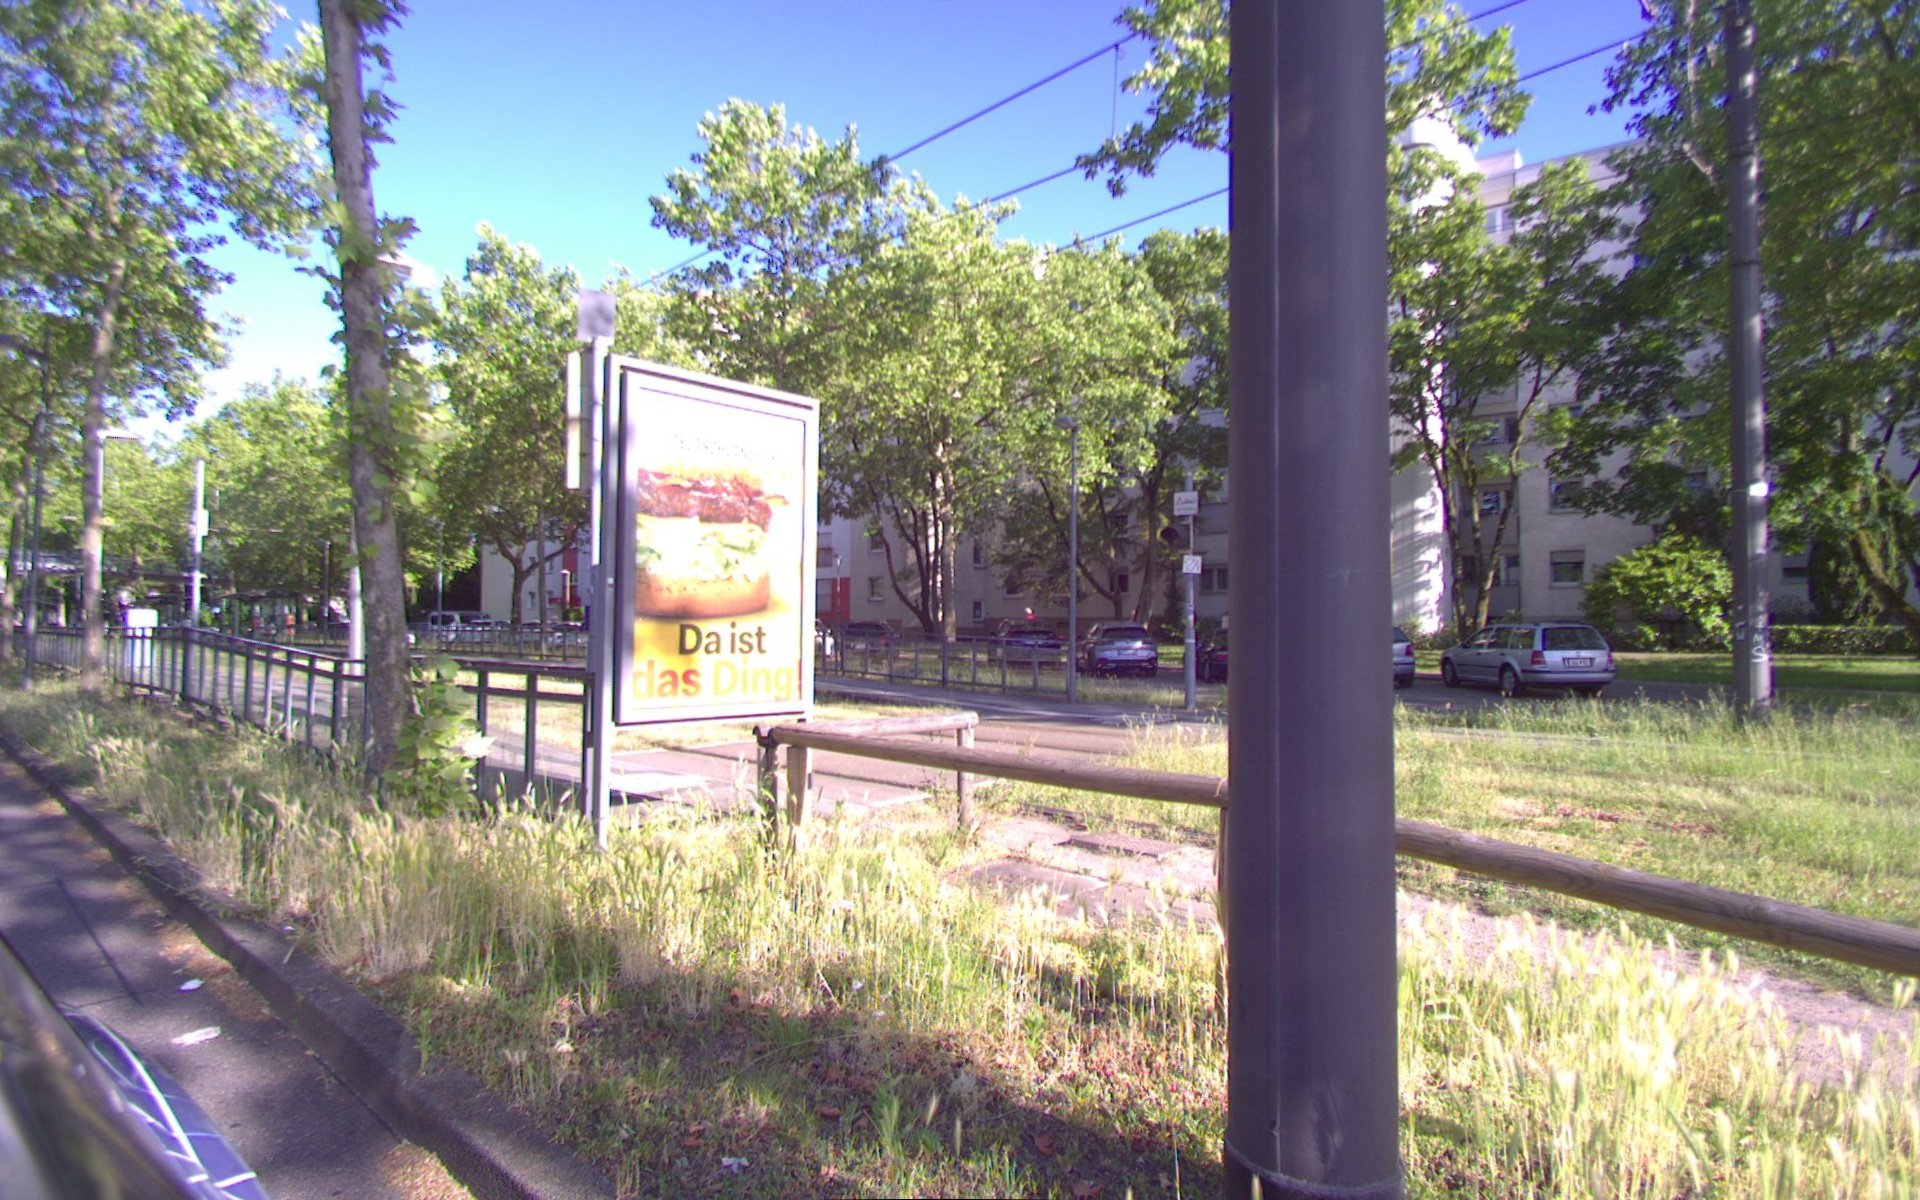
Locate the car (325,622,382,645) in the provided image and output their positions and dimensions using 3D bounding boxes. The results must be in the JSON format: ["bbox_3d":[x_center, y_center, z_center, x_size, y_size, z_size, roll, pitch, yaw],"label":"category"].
[{"bbox_3d":[-40.823,2.231,68.191,1.633,1.452,3.805,-1,-1,-2],"label":"car"}]

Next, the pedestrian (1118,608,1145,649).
[{"bbox_3d":[6.834,1.125,40.349,0.786,1.635,0.755,-1,0,39],"label":"pedestrian"}]

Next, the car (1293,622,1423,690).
[{"bbox_3d":[9.156,1.241,23.587,1.559,1.413,3.638,-1,-1,0],"label":"car"}]

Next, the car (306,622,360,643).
[{"bbox_3d":[-44.963,2.292,72.680,1.633,1.452,3.805,-1,-1,-2],"label":"car"}]

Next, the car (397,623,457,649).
[{"bbox_3d":[-31.317,2.087,59.598,1.633,1.452,3.805,-1,-1,-2],"label":"car"}]

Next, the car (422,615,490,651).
[{"bbox_3d":[-28.438,1.829,57.253,1.814,1.888,4.323,-1,-1,-2],"label":"car"}]

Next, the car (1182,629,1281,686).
[{"bbox_3d":[6.688,1.380,25.274,1.445,1.234,3.815,-1,-1,0],"label":"car"}]

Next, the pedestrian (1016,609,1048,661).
[{"bbox_3d":[2.477,1.188,34.804,0.786,1.745,0.755,-1,0,39],"label":"pedestrian"}]

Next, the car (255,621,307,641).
[{"bbox_3d":[-53.034,2.407,79.153,1.633,1.452,3.805,-1,-1,-2],"label":"car"}]

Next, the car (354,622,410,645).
[{"bbox_3d":[-37.869,2.177,66.377,1.633,1.452,3.805,-1,-1,-2],"label":"car"}]

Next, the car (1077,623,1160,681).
[{"bbox_3d":[4.231,1.367,27.516,1.633,1.413,3.803,-1,-1,0],"label":"car"}]

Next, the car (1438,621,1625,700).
[{"bbox_3d":[11.487,1.163,20.661,1.559,1.413,3.906,-1,-1,0],"label":"car"}]

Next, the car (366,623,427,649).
[{"bbox_3d":[-33.679,2.118,60.601,1.633,1.452,3.805,-1,-1,-2],"label":"car"}]

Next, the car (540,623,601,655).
[{"bbox_3d":[-19.031,1.901,49.538,1.633,1.452,3.805,-1,-1,-2],"label":"car"}]

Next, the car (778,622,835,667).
[{"bbox_3d":[-5.552,1.572,37.015,1.633,1.522,3.805,-1,-1,-2],"label":"car"}]

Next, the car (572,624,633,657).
[{"bbox_3d":[-16.612,1.858,47.157,1.633,1.452,3.805,-1,-1,-2],"label":"car"}]

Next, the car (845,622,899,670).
[{"bbox_3d":[-2.962,1.530,34.646,1.633,1.522,3.805,-1,-1,-2],"label":"car"}]

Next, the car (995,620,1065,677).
[{"bbox_3d":[1.997,1.357,29.664,1.633,1.522,3.805,-1,-1,-2],"label":"car"}]

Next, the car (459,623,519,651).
[{"bbox_3d":[-25.856,2.003,55.658,1.633,1.452,3.805,-1,-1,-2],"label":"car"}]

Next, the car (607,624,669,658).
[{"bbox_3d":[-14.049,1.769,44.334,1.633,1.366,3.805,-1,-1,-2],"label":"car"}]

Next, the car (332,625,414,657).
[{"bbox_3d":[-29.499,2.030,50.813,4.629,1.522,1.638,-1,-1,33],"label":"car"}]

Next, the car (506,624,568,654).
[{"bbox_3d":[-21.322,1.943,51.182,1.633,1.452,3.805,-1,-1,-2],"label":"car"}]
